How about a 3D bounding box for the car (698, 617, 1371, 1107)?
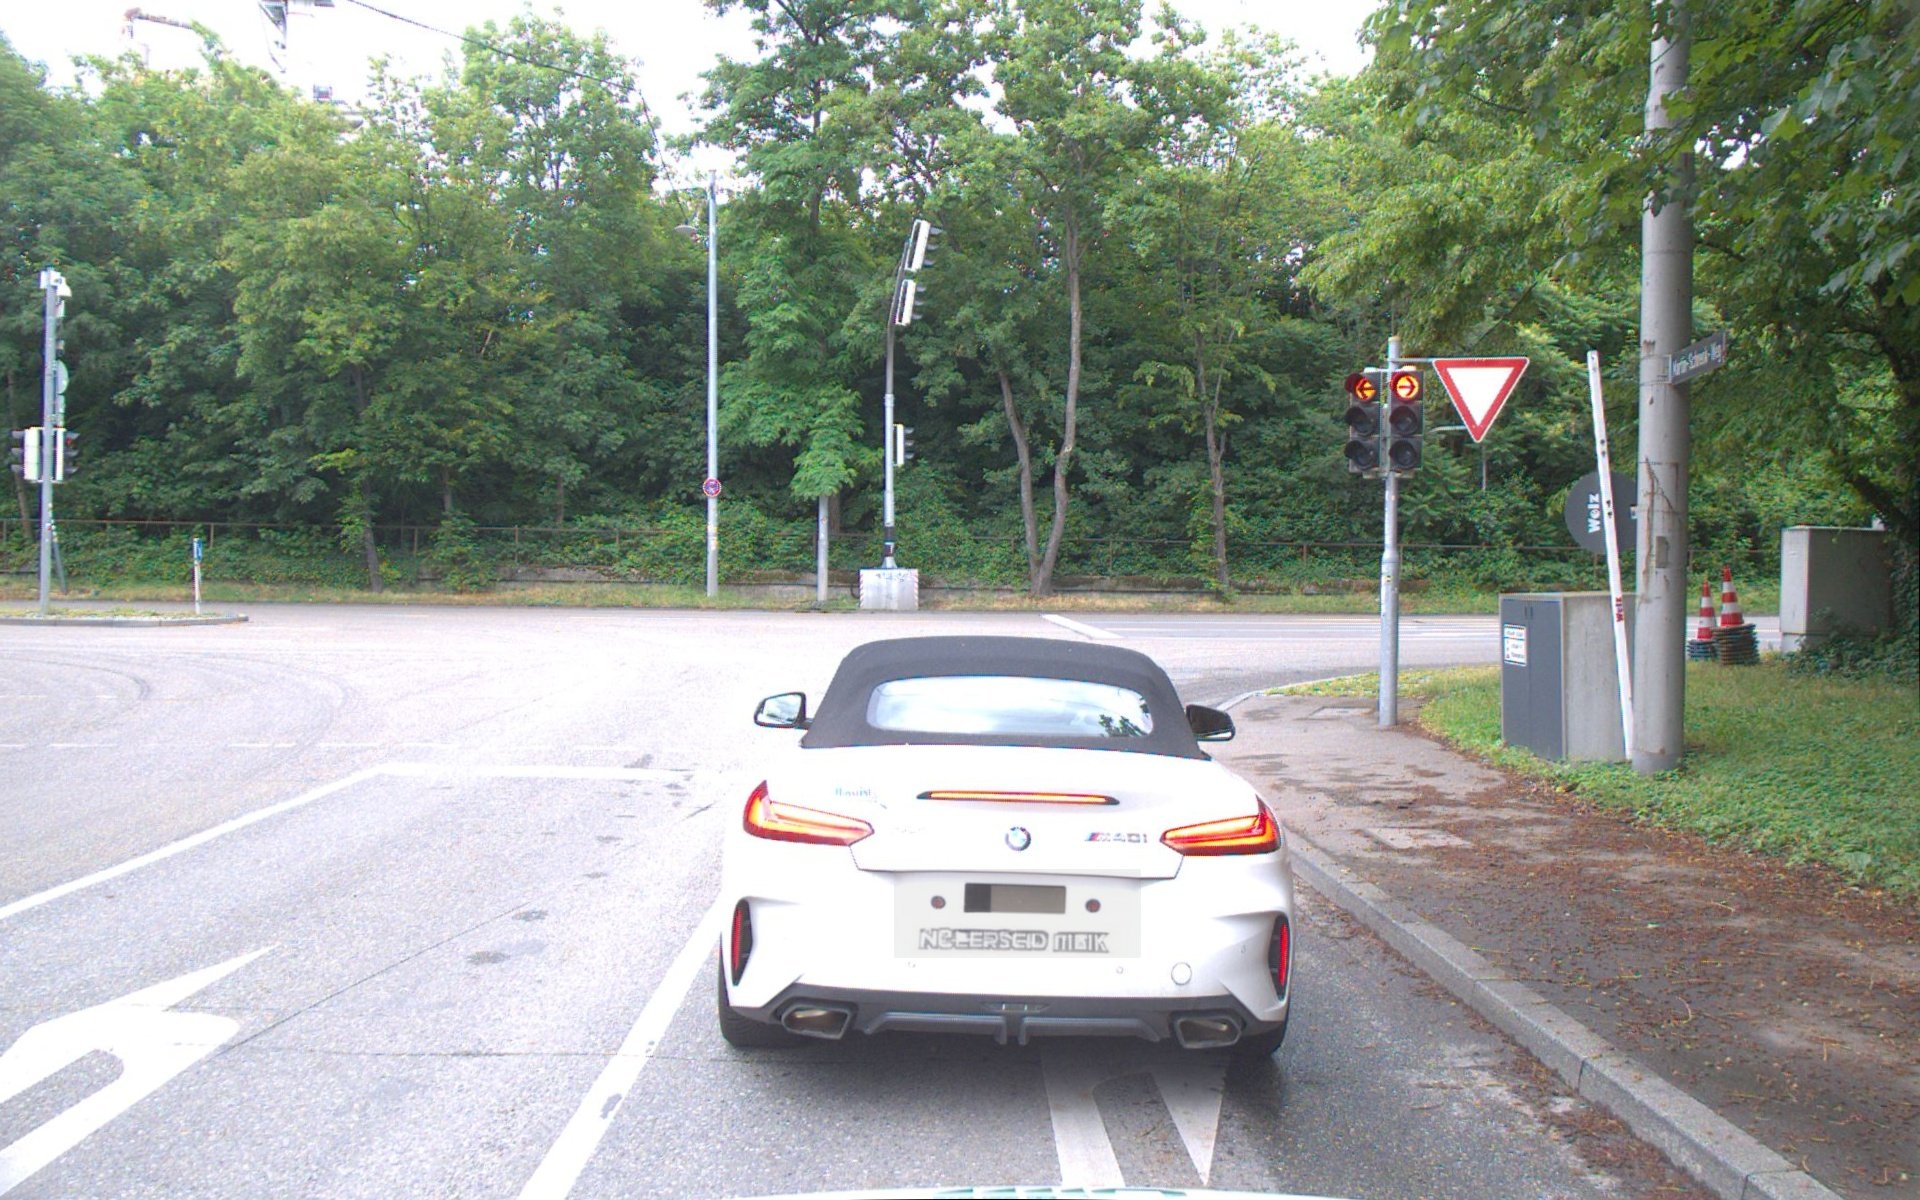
[{"bbox_3d":[0.116,0.752,6.458,1.791,1.279,3.997,2,-1,-3],"label":"car"}]
